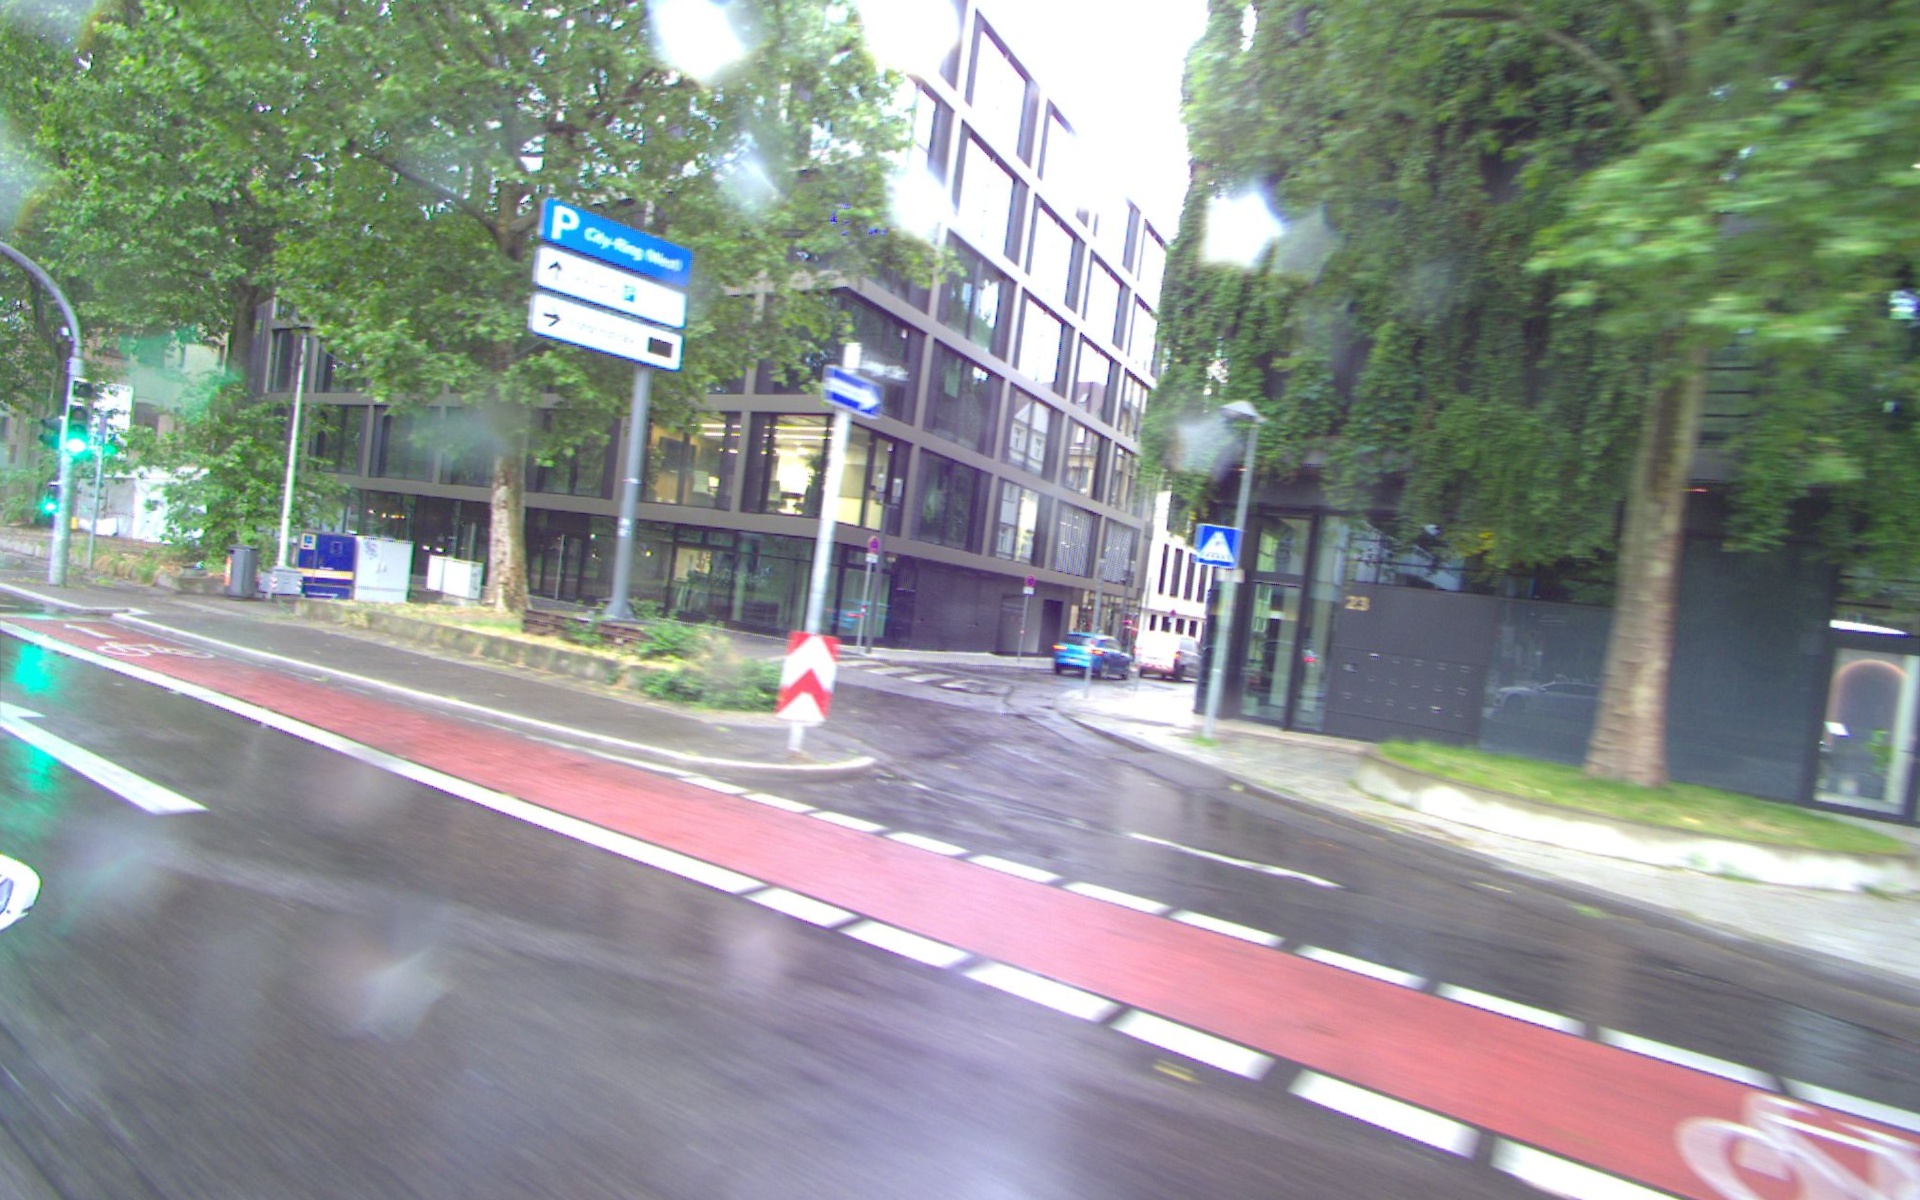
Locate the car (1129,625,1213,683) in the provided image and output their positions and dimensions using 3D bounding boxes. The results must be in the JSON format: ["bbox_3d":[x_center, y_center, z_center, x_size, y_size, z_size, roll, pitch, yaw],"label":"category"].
[{"bbox_3d":[8.747,2.276,41.310,1.892,1.968,4.961,6,-2,28],"label":"car"}]

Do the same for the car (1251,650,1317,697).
[{"bbox_3d":[13.866,3.163,42.938,1.814,1.607,3.997,6,-3,29],"label":"car"}]

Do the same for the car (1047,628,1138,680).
[{"bbox_3d":[4.499,1.834,33.678,1.769,1.453,4.060,6,-1,25],"label":"car"}]
